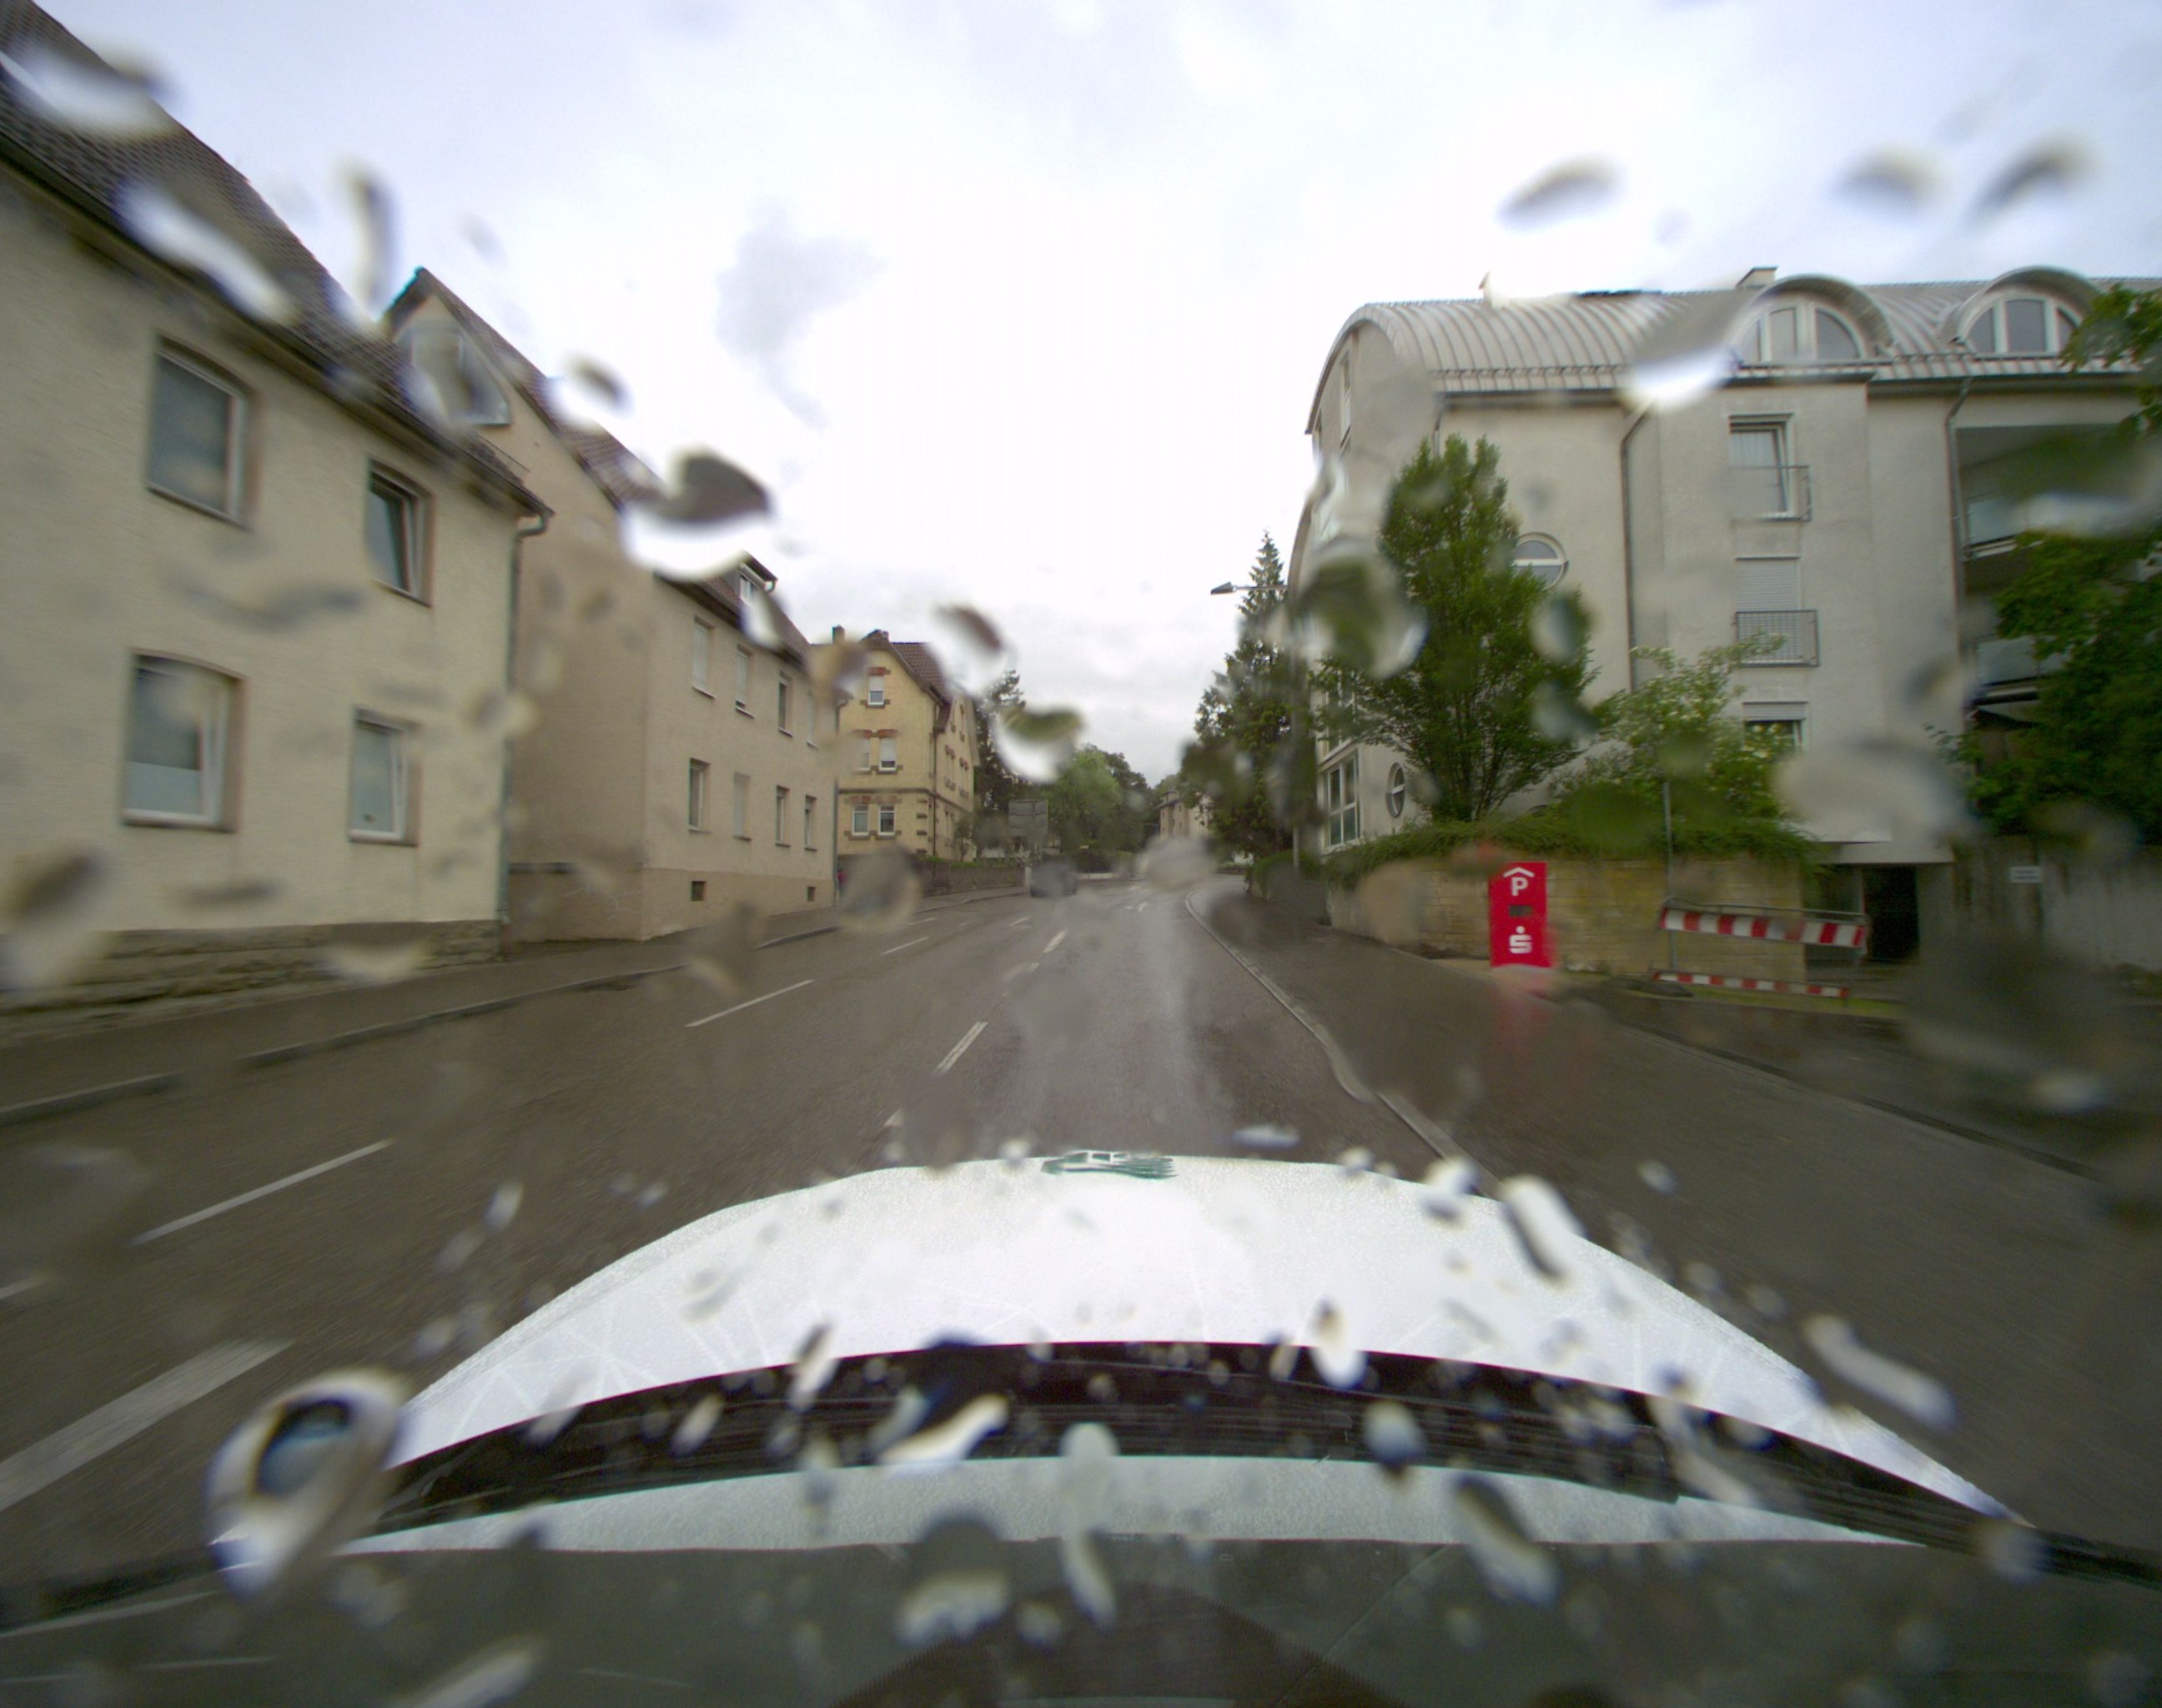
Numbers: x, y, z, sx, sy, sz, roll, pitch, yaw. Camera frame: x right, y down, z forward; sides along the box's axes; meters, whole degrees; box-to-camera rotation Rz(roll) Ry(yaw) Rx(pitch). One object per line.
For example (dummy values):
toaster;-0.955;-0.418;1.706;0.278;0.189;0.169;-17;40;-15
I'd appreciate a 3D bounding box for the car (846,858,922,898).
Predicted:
car;-7.849;0.915;32.769;1.762;1.503;3.888;1;0;5

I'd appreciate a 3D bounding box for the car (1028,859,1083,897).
car;-1.117;1.101;37.905;1.734;1.571;3.823;3;0;10

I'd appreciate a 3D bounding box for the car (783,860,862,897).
car;-10.486;0.972;33.358;1.763;1.367;3.886;1;0;3
